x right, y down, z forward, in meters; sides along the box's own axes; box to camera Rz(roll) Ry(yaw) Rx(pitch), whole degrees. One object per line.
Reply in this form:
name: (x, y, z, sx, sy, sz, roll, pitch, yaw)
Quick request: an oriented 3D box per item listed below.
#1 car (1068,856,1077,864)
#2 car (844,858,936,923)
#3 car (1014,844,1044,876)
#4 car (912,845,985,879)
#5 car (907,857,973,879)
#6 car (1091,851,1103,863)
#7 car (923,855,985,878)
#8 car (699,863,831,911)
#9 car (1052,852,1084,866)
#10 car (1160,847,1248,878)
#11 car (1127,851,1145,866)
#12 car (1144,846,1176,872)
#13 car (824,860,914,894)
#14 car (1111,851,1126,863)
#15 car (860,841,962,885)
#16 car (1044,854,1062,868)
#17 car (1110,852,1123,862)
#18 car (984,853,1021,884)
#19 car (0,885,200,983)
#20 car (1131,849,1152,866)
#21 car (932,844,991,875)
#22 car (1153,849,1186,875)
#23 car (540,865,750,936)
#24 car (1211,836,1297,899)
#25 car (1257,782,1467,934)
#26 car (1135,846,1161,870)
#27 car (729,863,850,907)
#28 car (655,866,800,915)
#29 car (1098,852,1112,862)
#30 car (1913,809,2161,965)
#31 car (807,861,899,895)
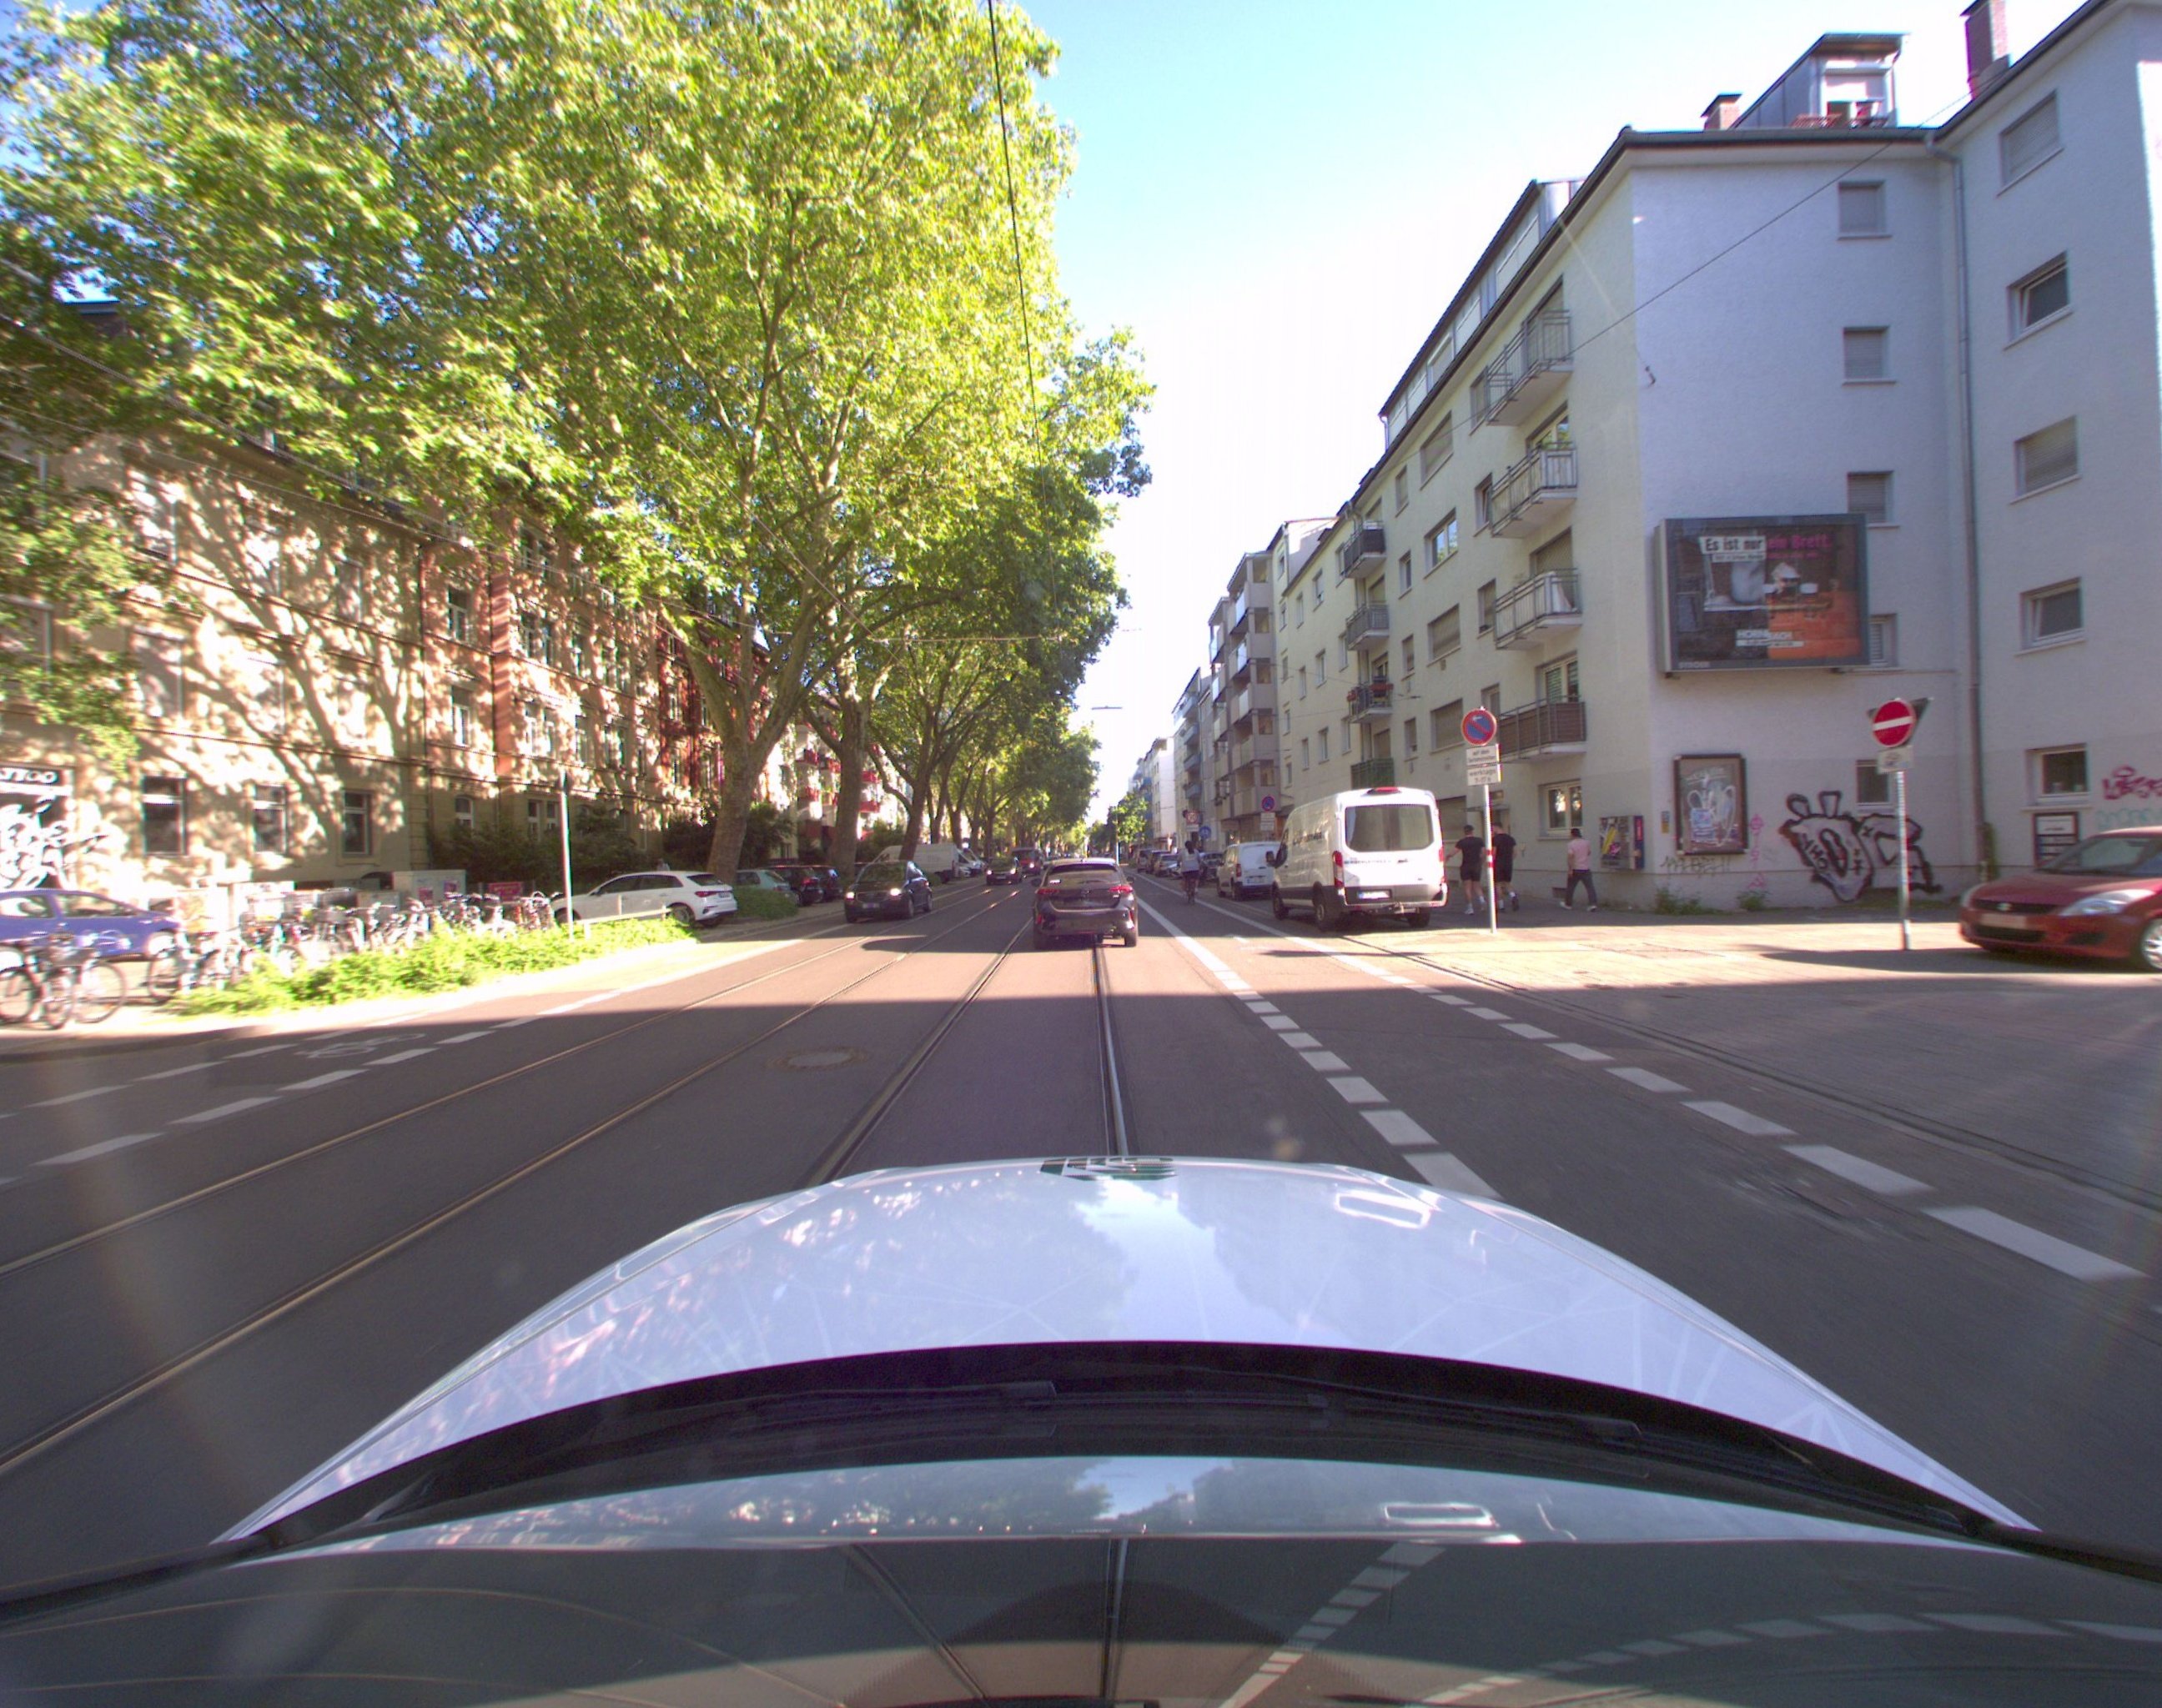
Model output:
car: (-1.851, 1.349, 184.128, 1.743, 1.651, 4.002, -2, 0, 2)
car: (-5.033, 0.899, 21.895, 1.631, 1.510, 3.689, -2, 0, -2)
car: (-3.804, 0.417, 60.243, 1.912, 2.227, 4.957, -2, 0, -1)
car: (-10.502, 0.614, 64.817, 5.342, 2.477, 2.057, -2, 0, 0)
car: (-10.284, 0.997, 59.598, 4.396, 1.384, 1.933, -2, 0, 0)
car: (2.576, 0.456, 128.432, 1.851, 1.651, 4.002, -2, 0, 2)
car: (-9.612, 0.929, 61.852, 4.357, 1.539, 1.872, -2, 0, -1)
car: (-11.228, 1.152, 29.107, 3.972, 1.460, 1.771, -2, 0, 2)
car: (-1.668, 0.682, 106.103, 3.974, 1.651, 1.864, -2, 0, 0)
car: (7.068, 0.488, 46.998, 4.616, 1.437, 1.857, -4, 0, -11)
car: (6.155, 0.509, 91.901, 1.851, 1.651, 4.002, -2, 0, 2)
car: (5.632, 0.344, 58.488, 1.761, 1.705, 4.281, -2, 0, -1)
car: (-10.668, 1.158, 41.174, 3.973, 1.496, 1.830, -2, 0, 0)
car: (5.336, 0.427, 116.771, 1.715, 1.574, 4.079, -2, 0, -4)
car: (-10.442, 0.531, 50.283, 5.722, 2.536, 2.162, -2, 0, 0)
car: (-2.867, 0.702, 83.244, 1.713, 1.358, 4.467, -2, 0, -1)
car: (5.350, 0.430, 122.663, 1.713, 1.490, 3.679, -2, 0, -1)
car: (-4.243, 0.755, 44.416, 1.713, 1.510, 3.720, -2, 0, -2)
car: (-18.229, 1.372, 14.371, 1.595, 1.460, 3.486, -2, 0, -3)
car: (6.227, 0.347, 84.187, 1.851, 1.651, 4.002, -2, 0, 2)
car: (-10.765, 0.447, 73.612, 4.932, 2.567, 2.080, -2, 0, -3)
car: (5.611, 0.473, 51.963, 1.718, 1.525, 4.515, -2, 0, 2)
car: (-10.399, 1.088, 19.656, 3.975, 1.460, 1.878, -2, 0, -1)
car: (5.601, 0.407, 26.943, 1.853, 1.820, 4.350, -2, 0, 0)
car: (5.396, 0.074, 16.751, 2.142, 2.495, 6.087, -2, 0, 0)
car: (5.487, 0.302, 67.290, 1.851, 1.890, 4.927, -2, 0, 2)
car: (-11.232, 1.175, 31.555, 3.972, 1.460, 1.705, -2, 0, 2)
car: (-11.471, 1.183, 26.588, 3.972, 1.369, 1.606, -2, 0, 2)
car: (4.136, 0.449, 141.391, 1.990, 1.640, 3.995, -2, 0, -4)
car: (12.227, 0.285, 9.267, 3.636, 1.574, 1.791, -2, 1, 1)
car: (-10.656, 1.116, 38.213, 3.780, 1.460, 1.704, -1, 0, 0)
